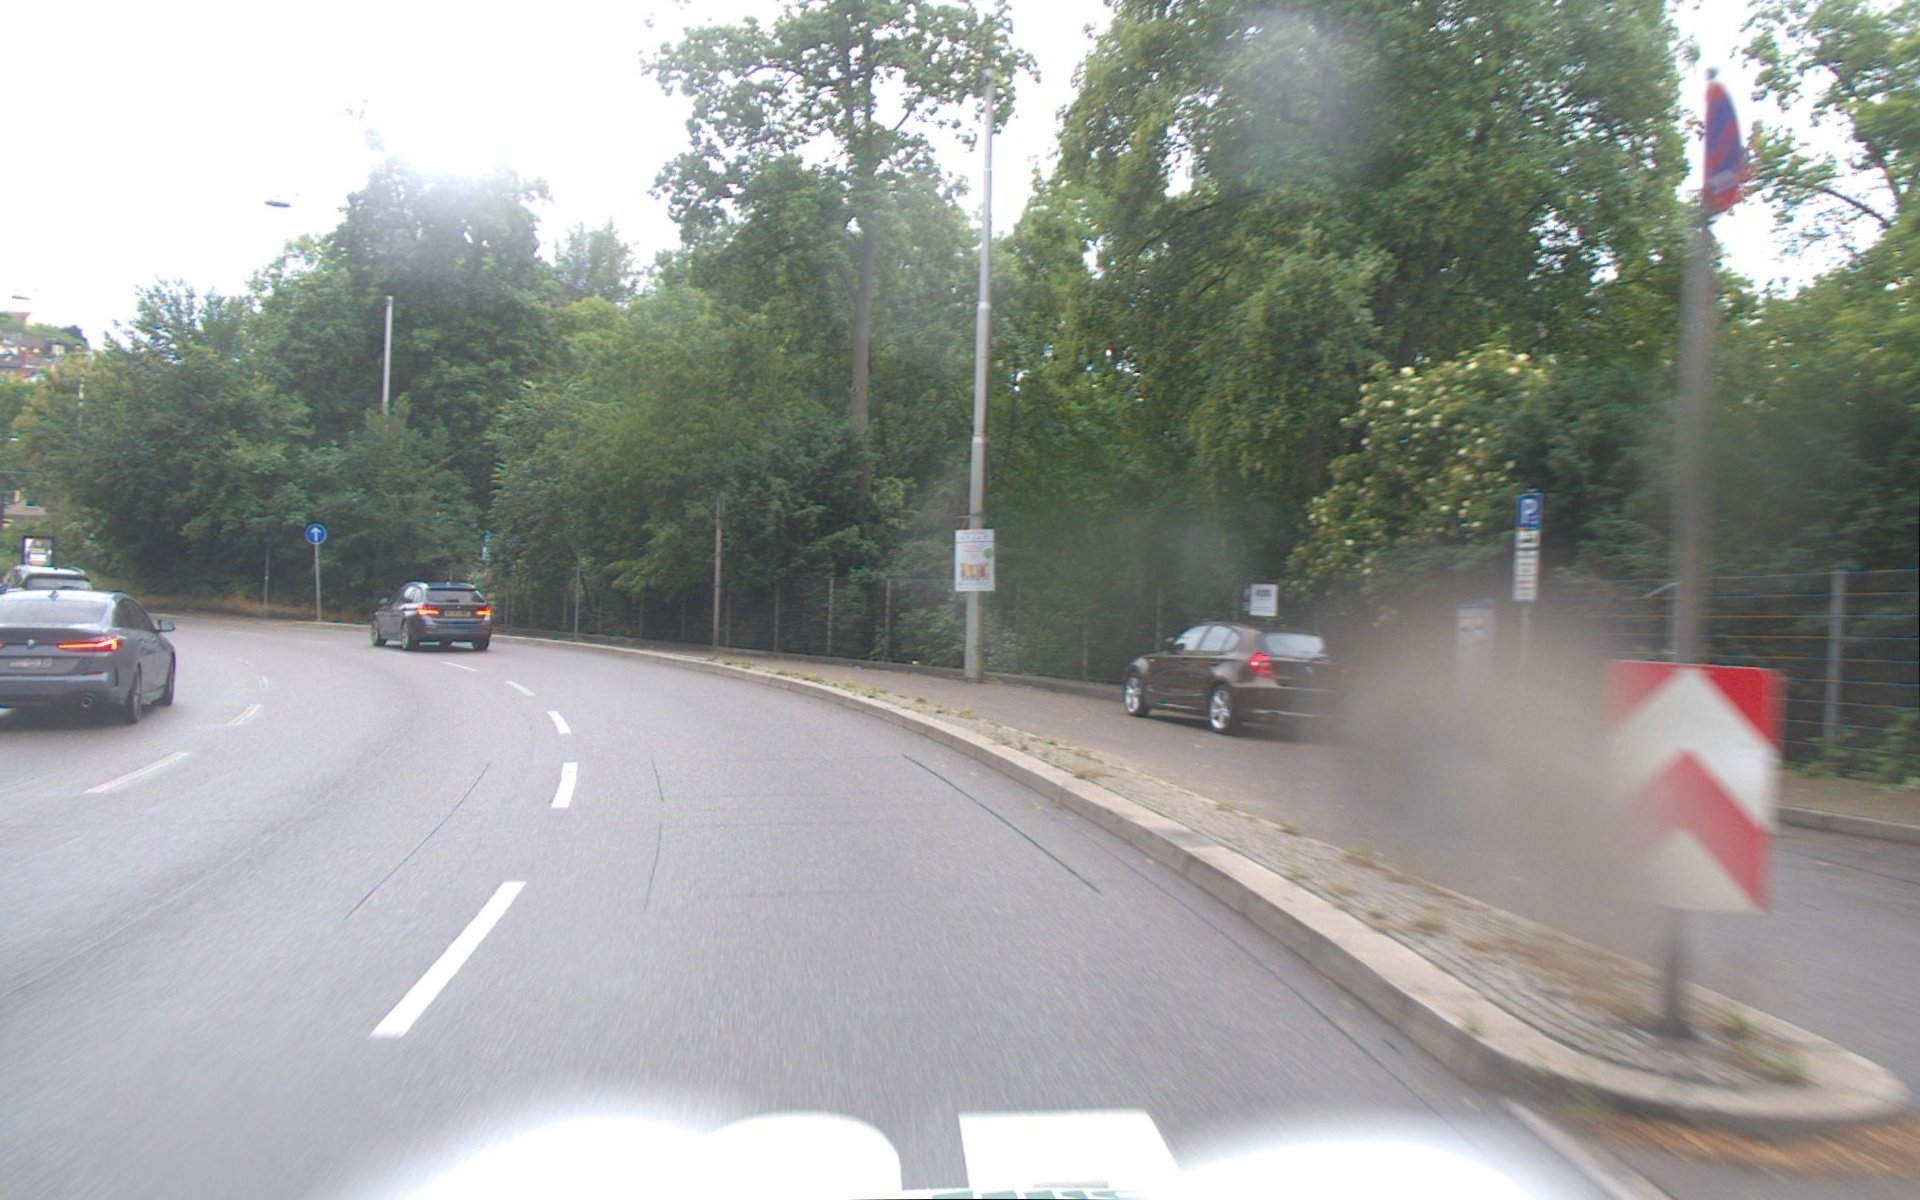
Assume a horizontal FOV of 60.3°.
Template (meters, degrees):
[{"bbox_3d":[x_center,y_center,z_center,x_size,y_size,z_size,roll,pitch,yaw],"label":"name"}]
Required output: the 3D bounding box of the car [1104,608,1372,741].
[{"bbox_3d":[3.621,0.937,22.397,1.662,1.451,4.348,4,-1,-19],"label":"car"}]

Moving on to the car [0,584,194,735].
[{"bbox_3d":[-10.060,0.591,18.991,1.638,1.439,4.519,1,1,-17],"label":"car"}]

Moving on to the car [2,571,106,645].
[{"bbox_3d":[-21.103,0.142,38.662,1.734,1.613,4.380,0,1,-24],"label":"car"}]

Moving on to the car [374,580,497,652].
[{"bbox_3d":[-11.747,0.387,36.892,1.739,1.458,4.368,-1,-2,-30],"label":"car"}]
